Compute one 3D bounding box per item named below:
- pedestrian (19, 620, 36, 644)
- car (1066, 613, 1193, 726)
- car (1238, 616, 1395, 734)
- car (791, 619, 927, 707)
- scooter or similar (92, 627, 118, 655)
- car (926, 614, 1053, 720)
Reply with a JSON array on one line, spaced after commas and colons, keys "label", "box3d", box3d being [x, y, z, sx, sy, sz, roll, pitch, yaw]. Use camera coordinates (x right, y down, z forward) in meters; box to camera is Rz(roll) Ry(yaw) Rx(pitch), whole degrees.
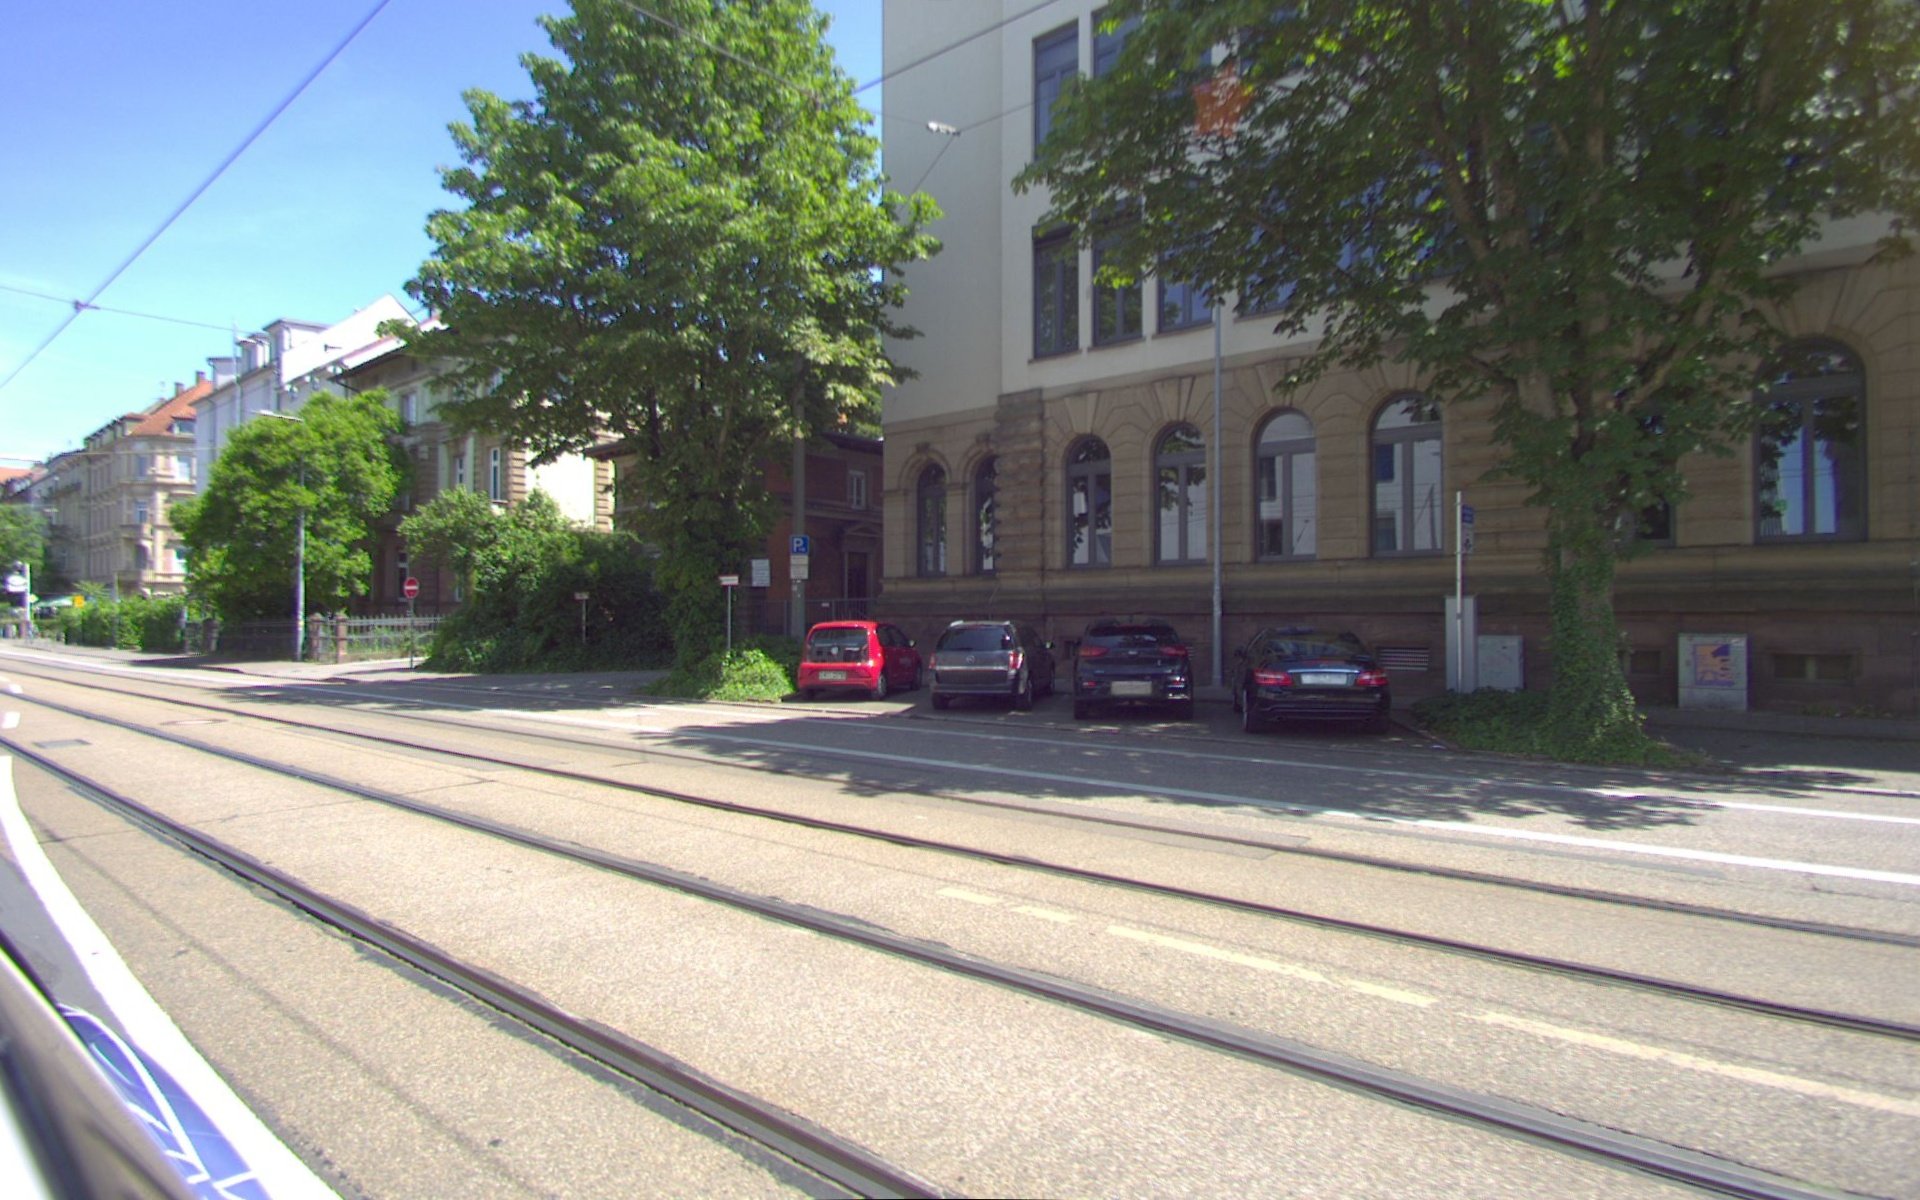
[{"label": "pedestrian", "box3d": [-63.265, 2.176, 68.677, 0.939, 1.654, 0.732, -1, -2, 42]}, {"label": "car", "box3d": [2.741, 1.026, 16.286, 1.774, 1.589, 3.805, 0, -2, 10]}, {"label": "car", "box3d": [4.771, 0.947, 14.027, 1.653, 1.385, 3.916, 0, -2, 14]}, {"label": "car", "box3d": [-1.898, 1.158, 19.926, 1.653, 1.527, 3.338, 0, 0, 14]}, {"label": "scooter or similar", "box3d": [-47.069, 2.244, 55.736, 0.596, 1.462, 0.999, 0, -1, 39]}, {"label": "car", "box3d": [0.648, 1.091, 18.125, 1.651, 1.596, 4.308, 0, 0, 10]}]
